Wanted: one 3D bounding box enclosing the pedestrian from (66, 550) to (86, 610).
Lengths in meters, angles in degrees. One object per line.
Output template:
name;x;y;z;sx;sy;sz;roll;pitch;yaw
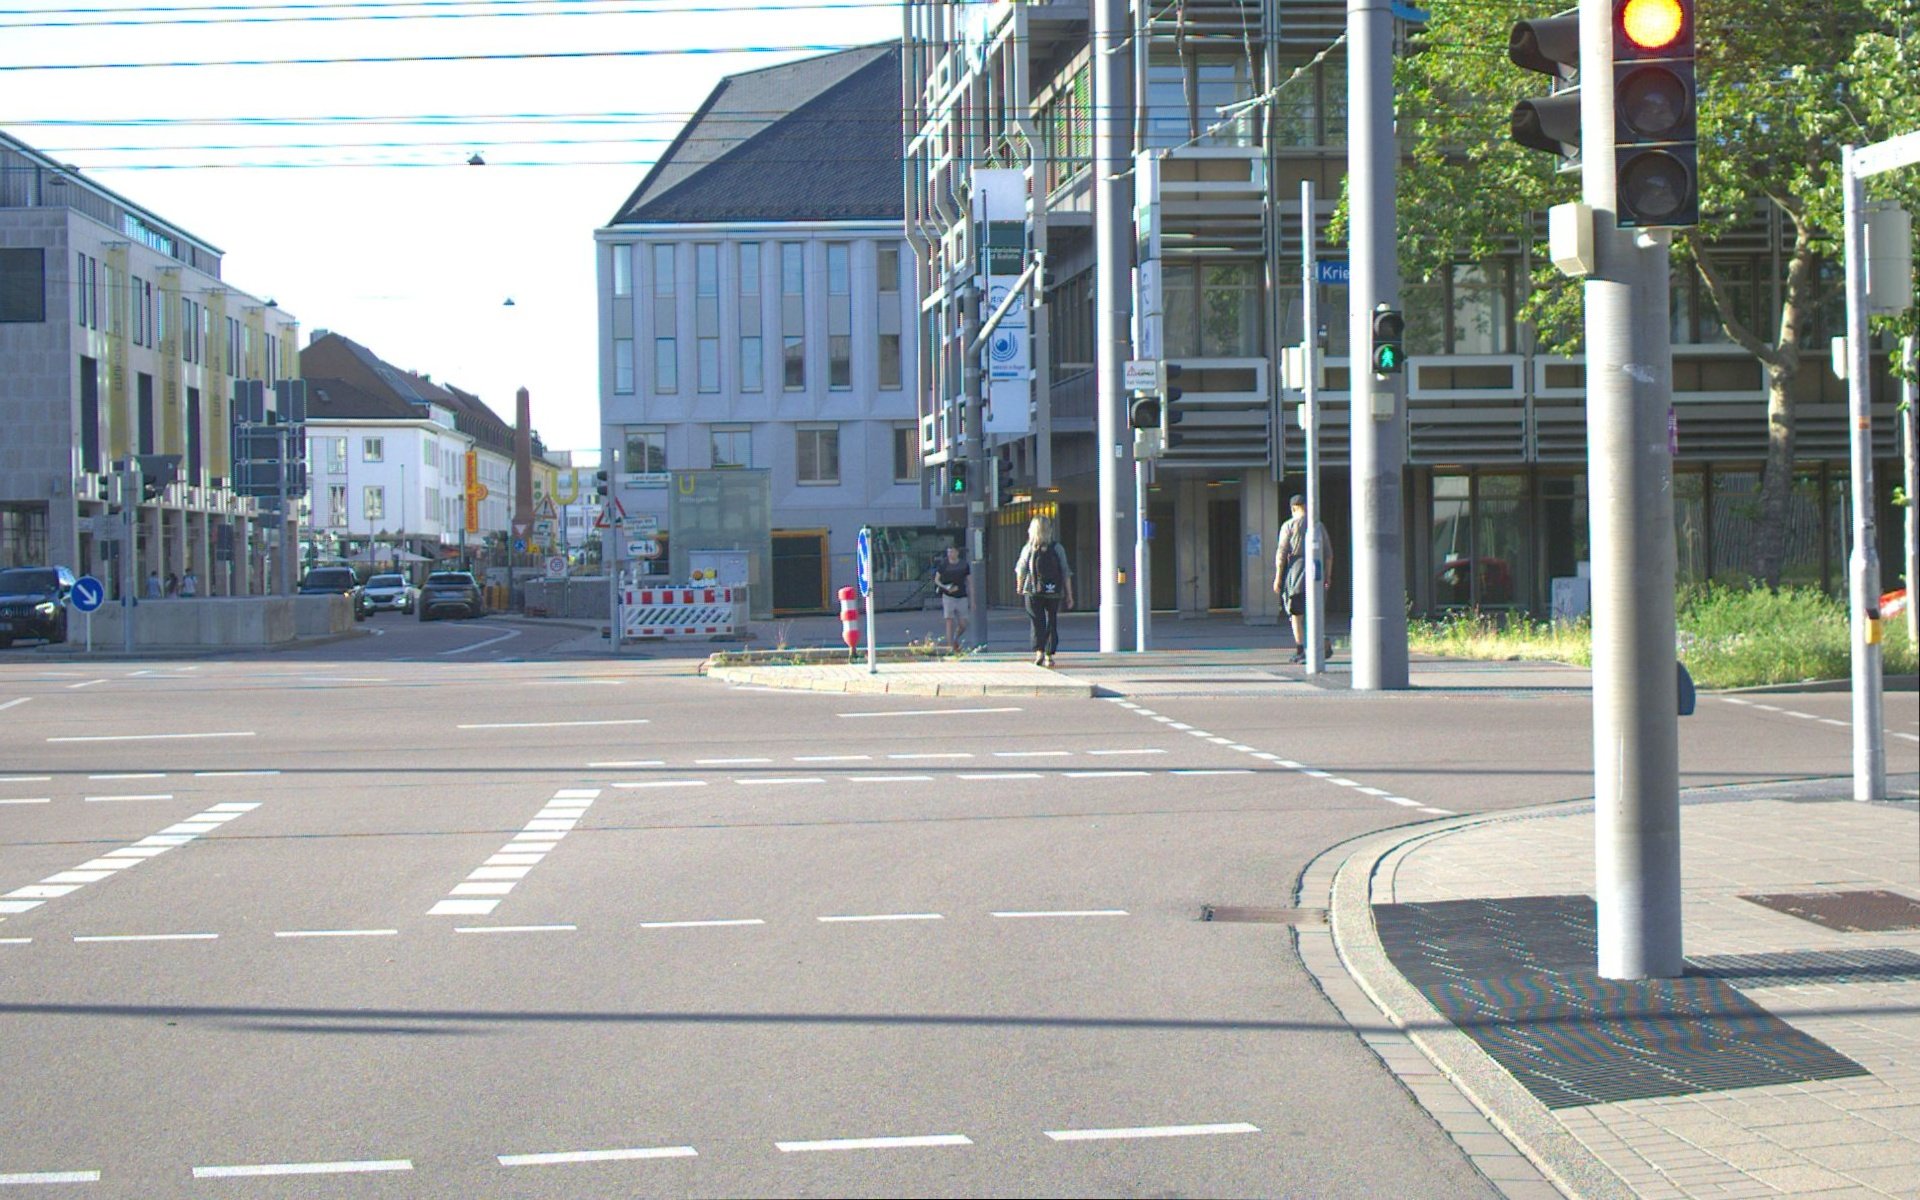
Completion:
pedestrian;-29.968;-0.672;116.562;0.616;2.007;0.478;1;0;-15

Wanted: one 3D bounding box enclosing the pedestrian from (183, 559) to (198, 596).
pedestrian;-28.489;-0.840;127.302;0.488;1.352;0.564;1;0;-6

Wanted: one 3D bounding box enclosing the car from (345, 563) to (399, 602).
car;-29.493;-0.869;172.604;2.174;1.866;5.616;-1;0;-4

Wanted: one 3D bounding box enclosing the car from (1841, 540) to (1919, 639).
car;16.204;-0.183;54.536;3.866;1.481;1.846;-1;-2;-7

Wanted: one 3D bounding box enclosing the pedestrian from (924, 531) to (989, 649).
pedestrian;-0.051;-0.170;56.553;1.012;1.904;1.051;0;1;3

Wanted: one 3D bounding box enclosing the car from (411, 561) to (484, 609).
car;-16.136;-0.470;108.323;1.936;1.445;4.263;-1;0;-4

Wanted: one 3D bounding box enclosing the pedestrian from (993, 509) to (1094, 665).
pedestrian;0.843;-0.147;35.076;0.895;1.544;0.924;-1;2;-7

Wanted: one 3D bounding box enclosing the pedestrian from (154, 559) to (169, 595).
pedestrian;-29.844;-0.871;128.499;0.488;1.352;0.564;1;0;-6

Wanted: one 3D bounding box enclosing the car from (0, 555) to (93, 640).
car;-19.092;-0.061;70.337;1.937;1.672;4.295;-1;1;-5

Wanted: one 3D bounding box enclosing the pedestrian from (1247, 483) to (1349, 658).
pedestrian;3.408;-0.306;34.720;0.855;1.738;0.739;-1;1;-8

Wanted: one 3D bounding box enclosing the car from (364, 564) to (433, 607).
car;-22.716;-0.599;139.207;2.174;1.686;5.616;-1;0;-3

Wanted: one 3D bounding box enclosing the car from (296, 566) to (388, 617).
car;-20.879;-0.294;116.345;2.174;1.686;5.487;-1;0;-1
